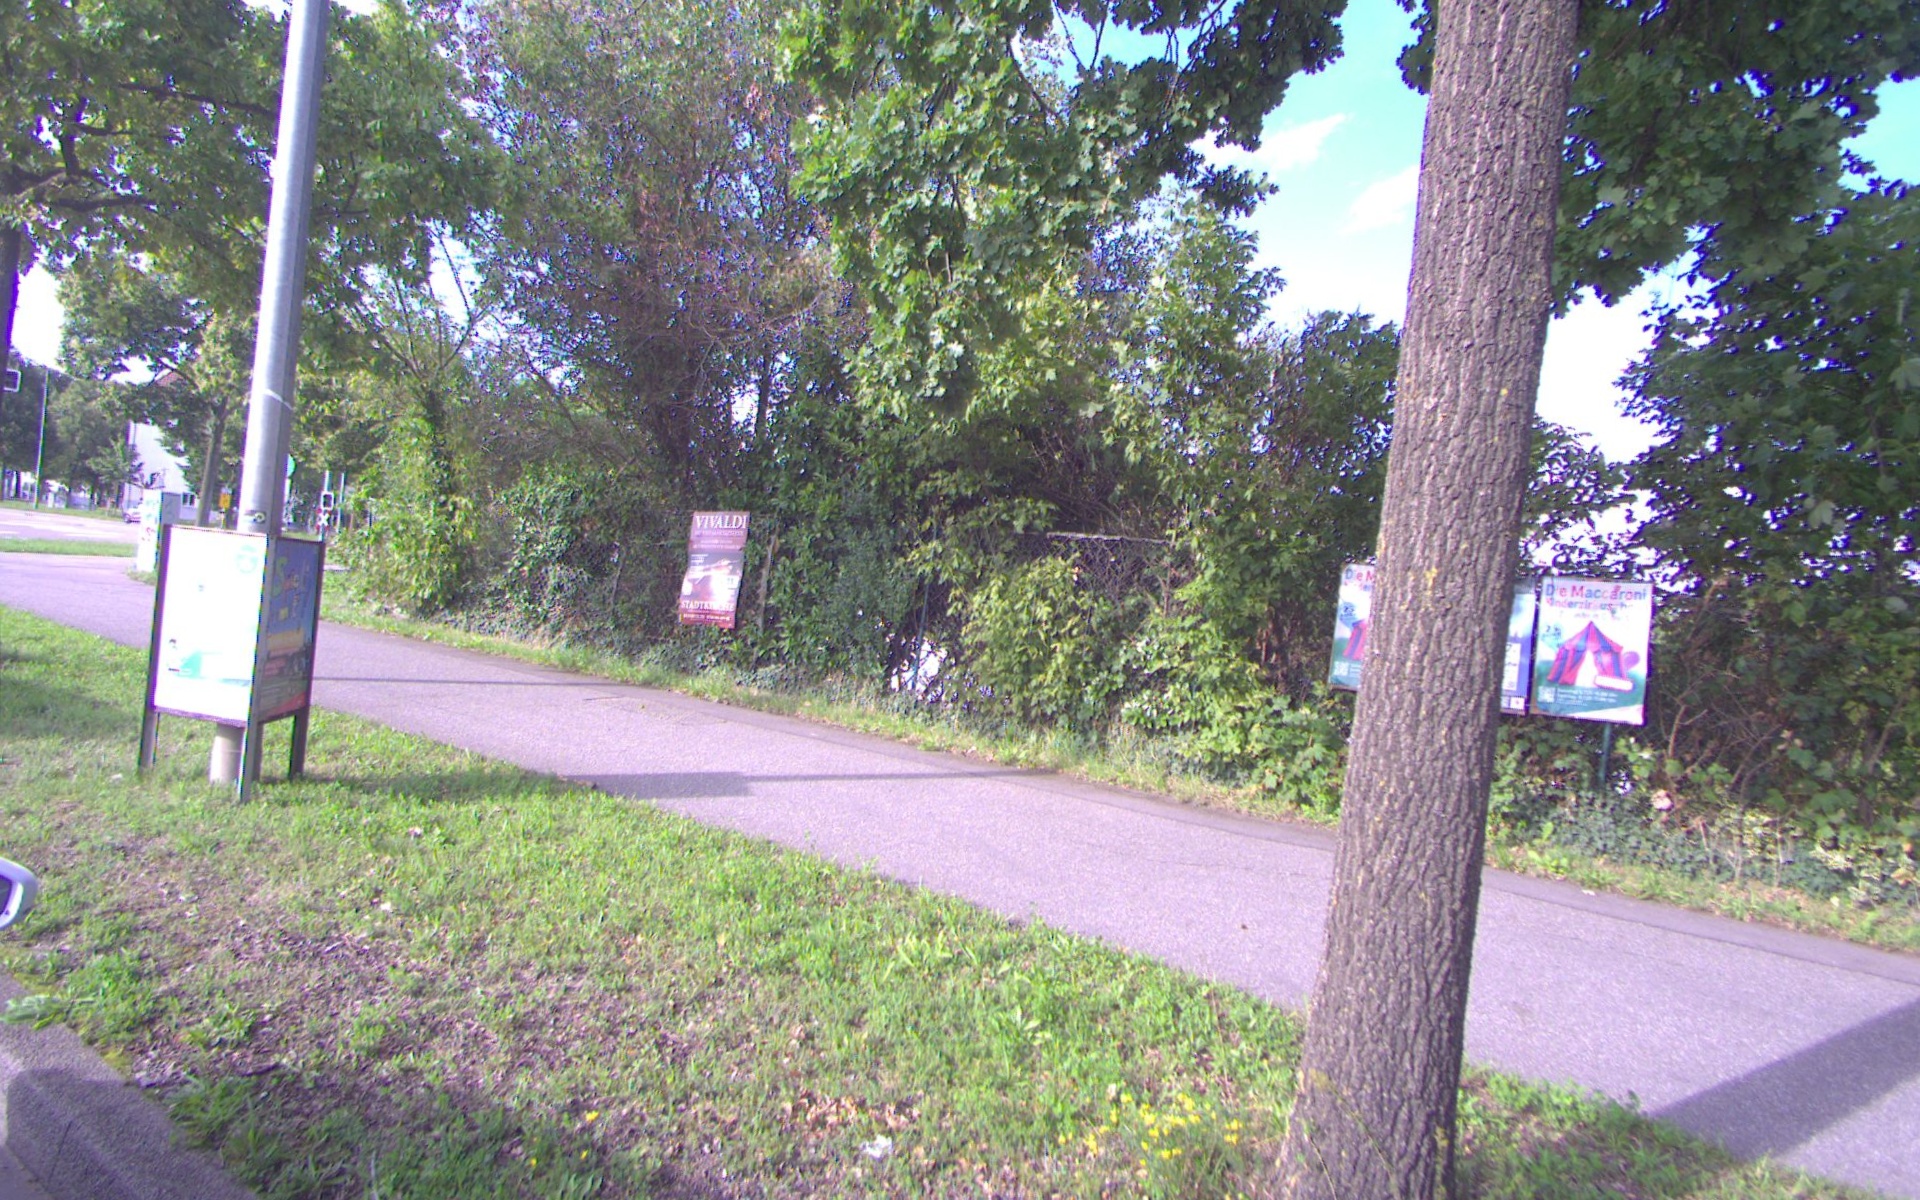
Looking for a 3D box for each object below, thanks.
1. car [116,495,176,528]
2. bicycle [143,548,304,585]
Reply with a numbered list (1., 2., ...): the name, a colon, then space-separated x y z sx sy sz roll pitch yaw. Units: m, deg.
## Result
1. car: -50.630 -5.530 62.575 3.141 1.593 1.574 7 0 25
2. bicycle: -14.575 -0.667 19.938 2.529 0.390 1.411 7 0 21
